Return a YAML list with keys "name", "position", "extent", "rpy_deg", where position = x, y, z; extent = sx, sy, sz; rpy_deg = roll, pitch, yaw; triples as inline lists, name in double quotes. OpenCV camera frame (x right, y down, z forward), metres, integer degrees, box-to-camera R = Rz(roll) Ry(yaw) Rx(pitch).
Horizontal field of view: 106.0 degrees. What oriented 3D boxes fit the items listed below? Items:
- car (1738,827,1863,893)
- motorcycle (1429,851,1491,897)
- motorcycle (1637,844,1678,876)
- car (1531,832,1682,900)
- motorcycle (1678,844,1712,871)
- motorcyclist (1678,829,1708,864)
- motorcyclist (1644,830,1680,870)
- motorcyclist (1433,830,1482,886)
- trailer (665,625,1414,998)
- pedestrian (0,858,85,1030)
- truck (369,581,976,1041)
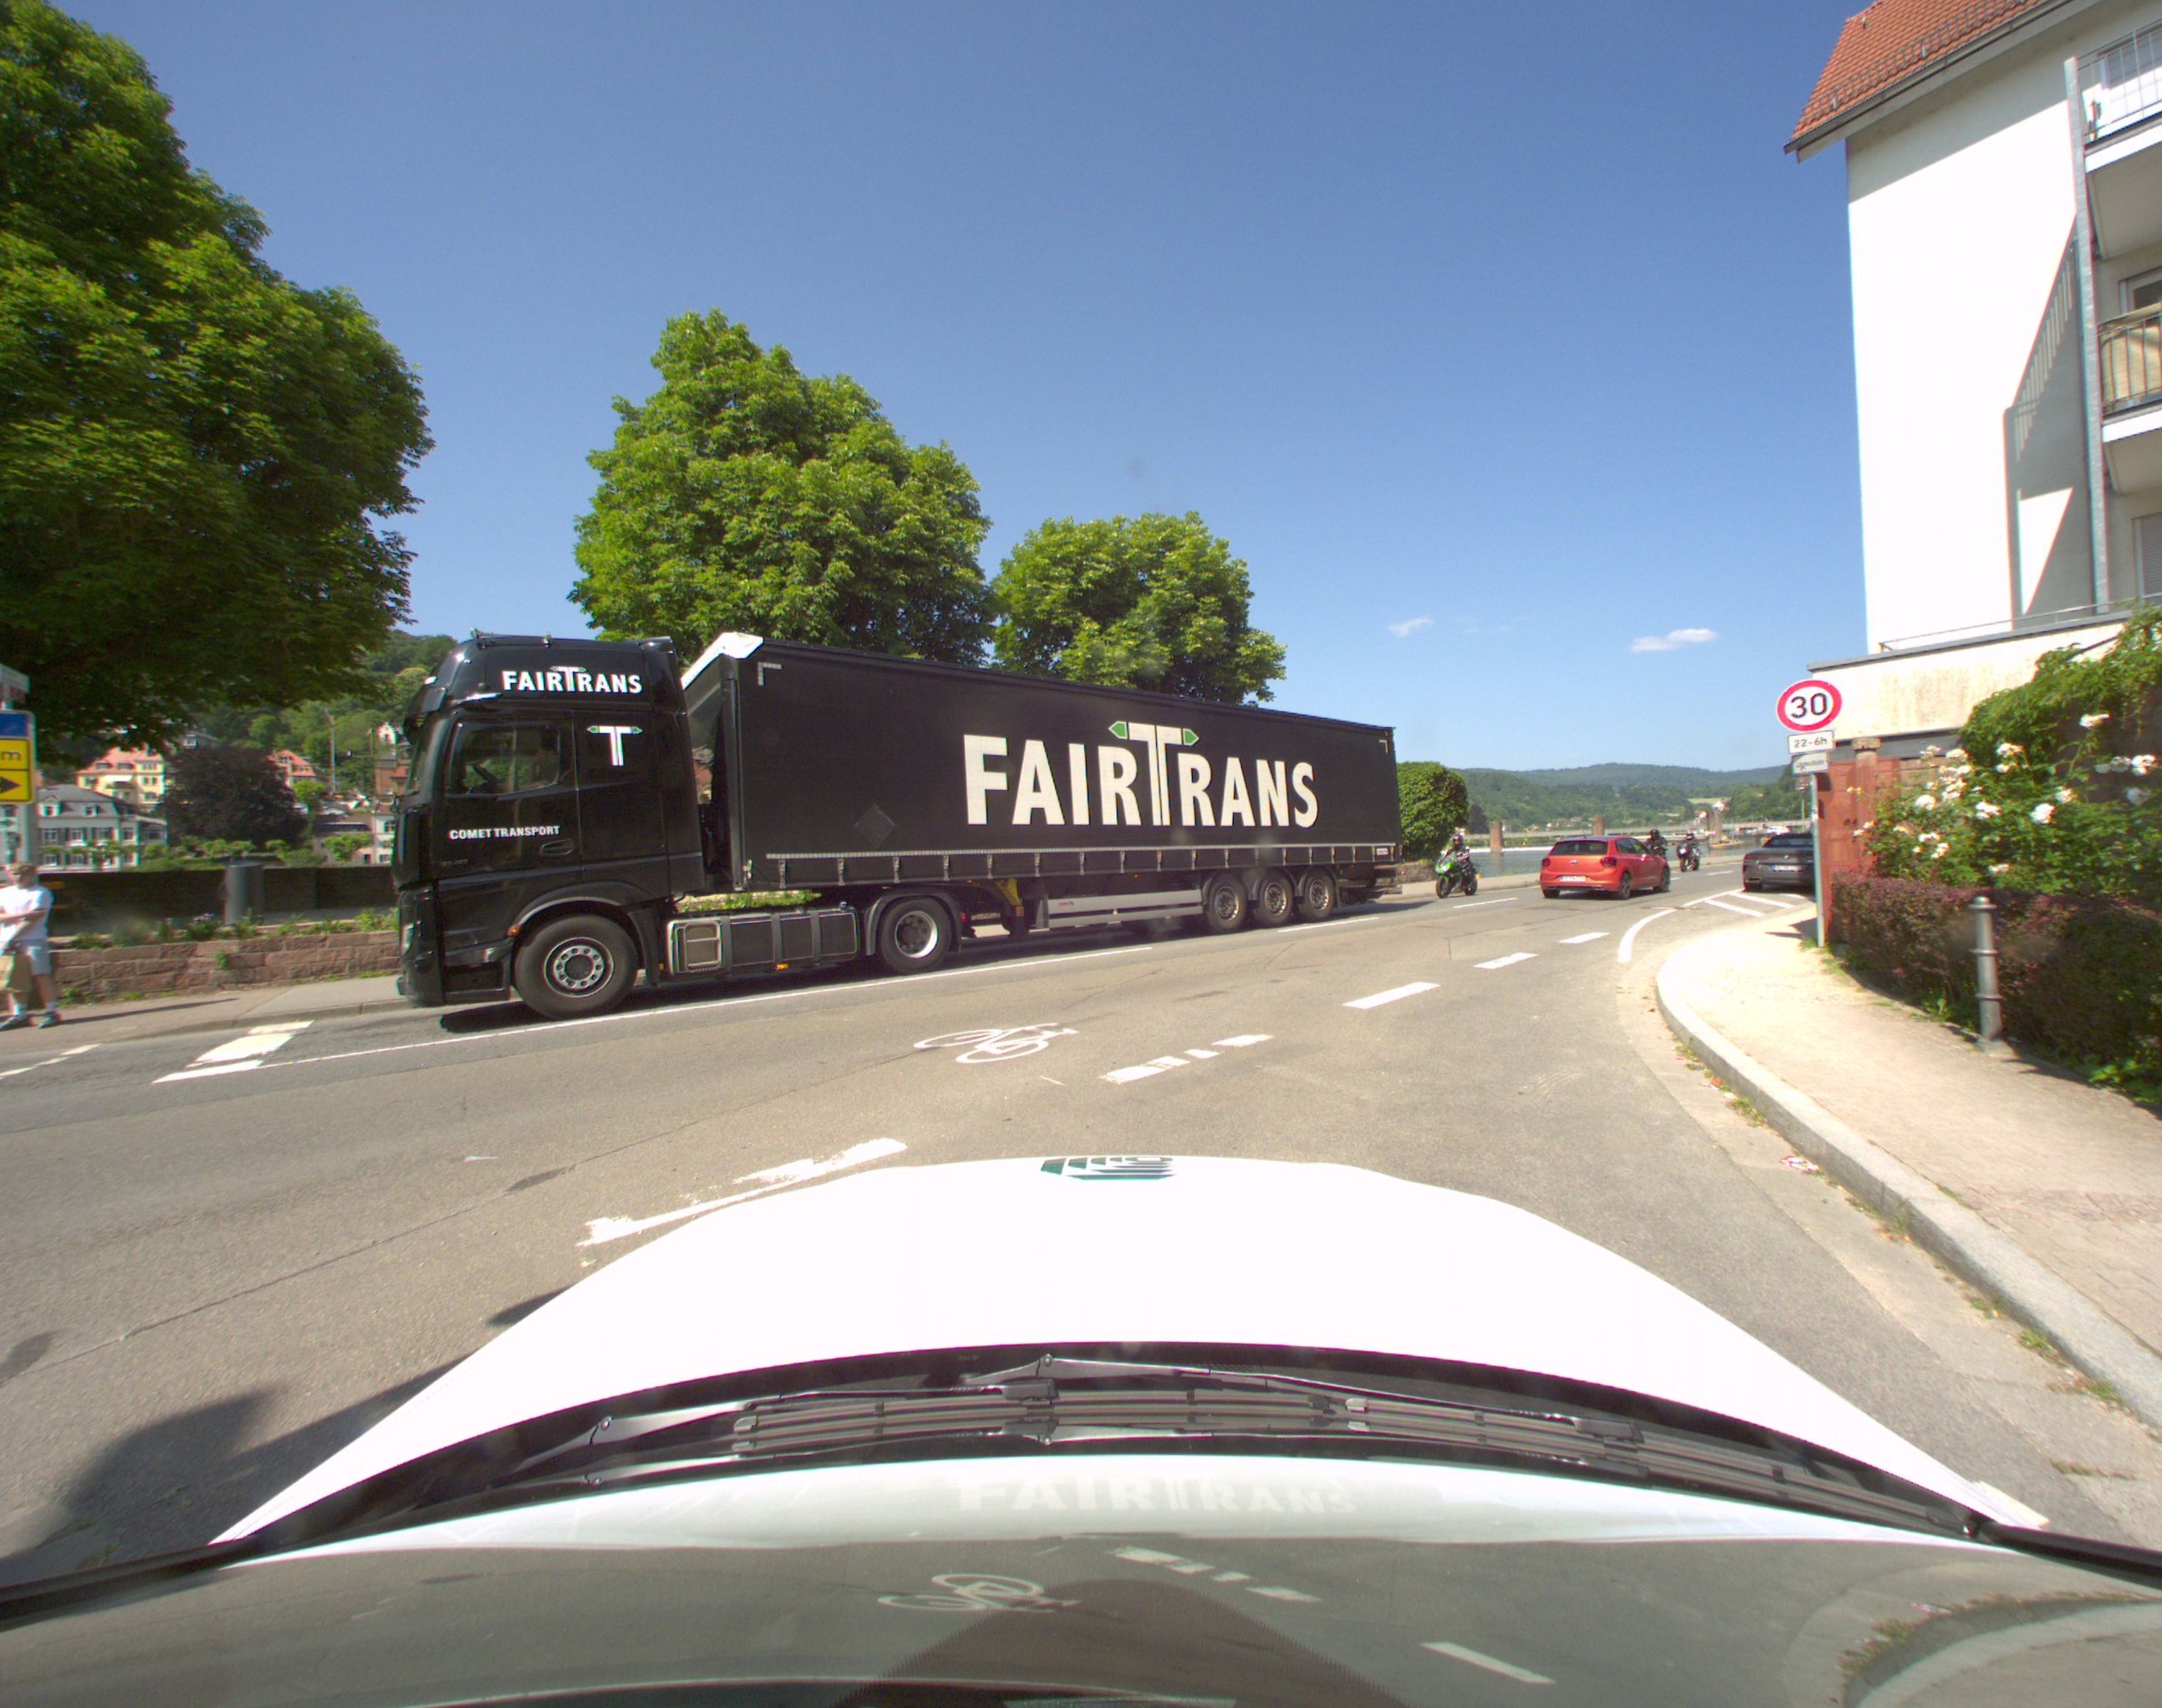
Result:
- name: "car"
  position: [17.087, 0.095, 19.282]
  extent: [3.759, 1.399, 1.673]
  rpy_deg: [-2, 1, -40]
- name: "motorcycle"
  position: [10.369, 0.538, 22.251]
  extent: [2.103, 1.123, 0.628]
  rpy_deg: [-2, -3, -39]
- name: "motorcycle"
  position: [20.047, 0.200, 28.300]
  extent: [1.824, 1.024, 0.651]
  rpy_deg: [-2, -1, -39]
- name: "car"
  position: [12.555, 0.247, 19.369]
  extent: [4.037, 1.405, 1.711]
  rpy_deg: [-2, 0, -37]
- name: "motorcycle"
  position: [24.850, 0.119, 32.959]
  extent: [1.824, 1.024, 0.651]
  rpy_deg: [-2, -1, -39]
- name: "motorcyclist"
  position: [24.742, -0.316, 32.940]
  extent: [0.941, 1.366, 0.711]
  rpy_deg: [-2, -1, -39]
- name: "motorcyclist"
  position: [20.210, -0.145, 28.336]
  extent: [0.804, 1.366, 0.780]
  rpy_deg: [-2, -1, -39]
- name: "motorcyclist"
  position: [10.293, 0.106, 22.280]
  extent: [0.996, 1.460, 0.772]
  rpy_deg: [-2, -2, -39]
- name: "trailer"
  position: [0.686, -0.615, 14.299]
  extent: [13.838, 4.104, 2.810]
  rpy_deg: [-2, -2, -38]
- name: "pedestrian"
  position: [-11.465, 0.958, 8.857]
  extent: [0.709, 1.802, 0.573]
  rpy_deg: [-2, -1, -43]
- name: "truck"
  position: [-4.699, -0.406, 10.109]
  extent: [5.961, 4.071, 2.807]
  rpy_deg: [-2, -2, -38]
